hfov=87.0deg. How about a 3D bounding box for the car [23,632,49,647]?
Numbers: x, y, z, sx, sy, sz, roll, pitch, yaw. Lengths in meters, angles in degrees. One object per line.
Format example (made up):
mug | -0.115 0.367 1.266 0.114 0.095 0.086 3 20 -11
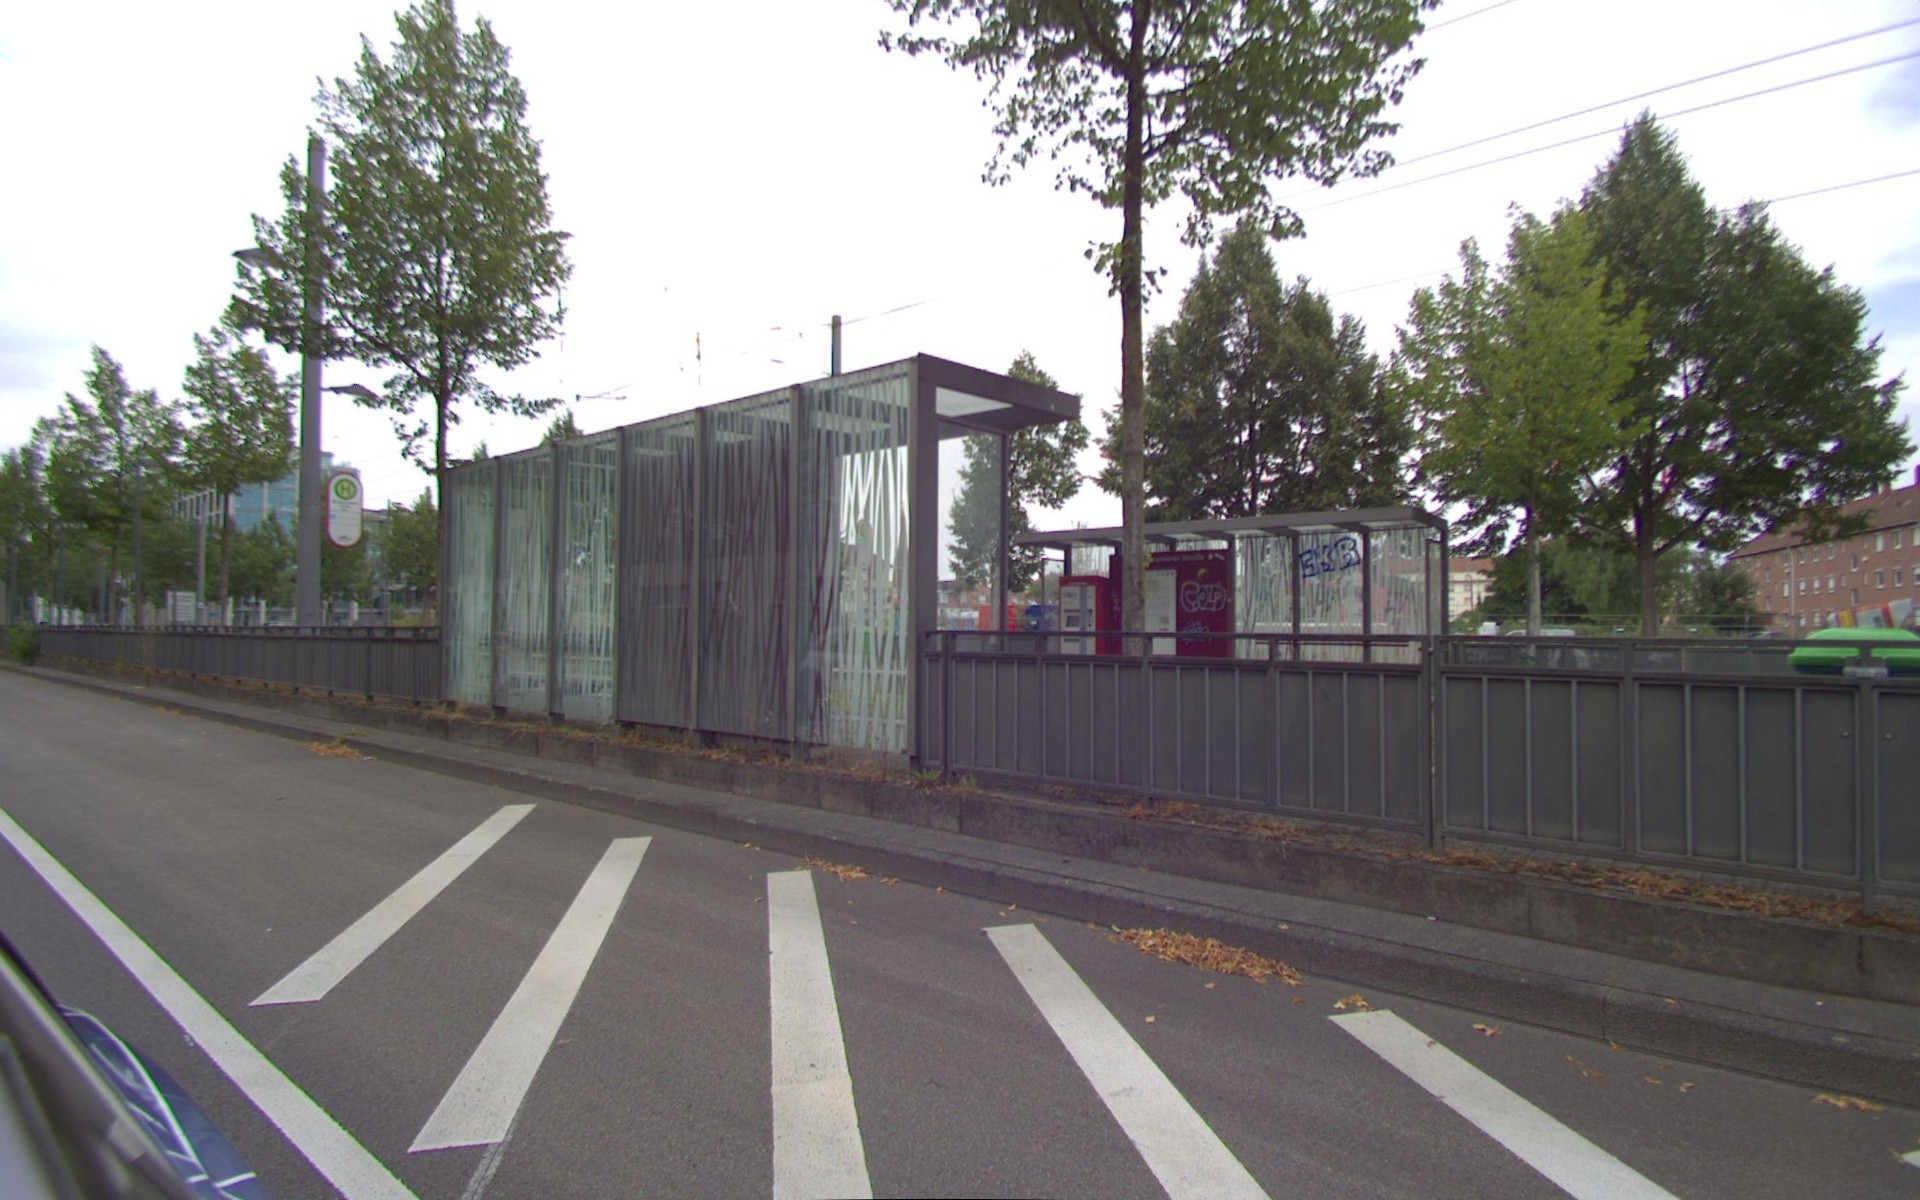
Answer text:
car | -123.350 5.220 135.074 5.092 1.959 1.973 -2 -3 40

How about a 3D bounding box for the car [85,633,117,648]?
car | -94.867 4.477 111.783 4.686 1.669 1.809 -2 -3 39
